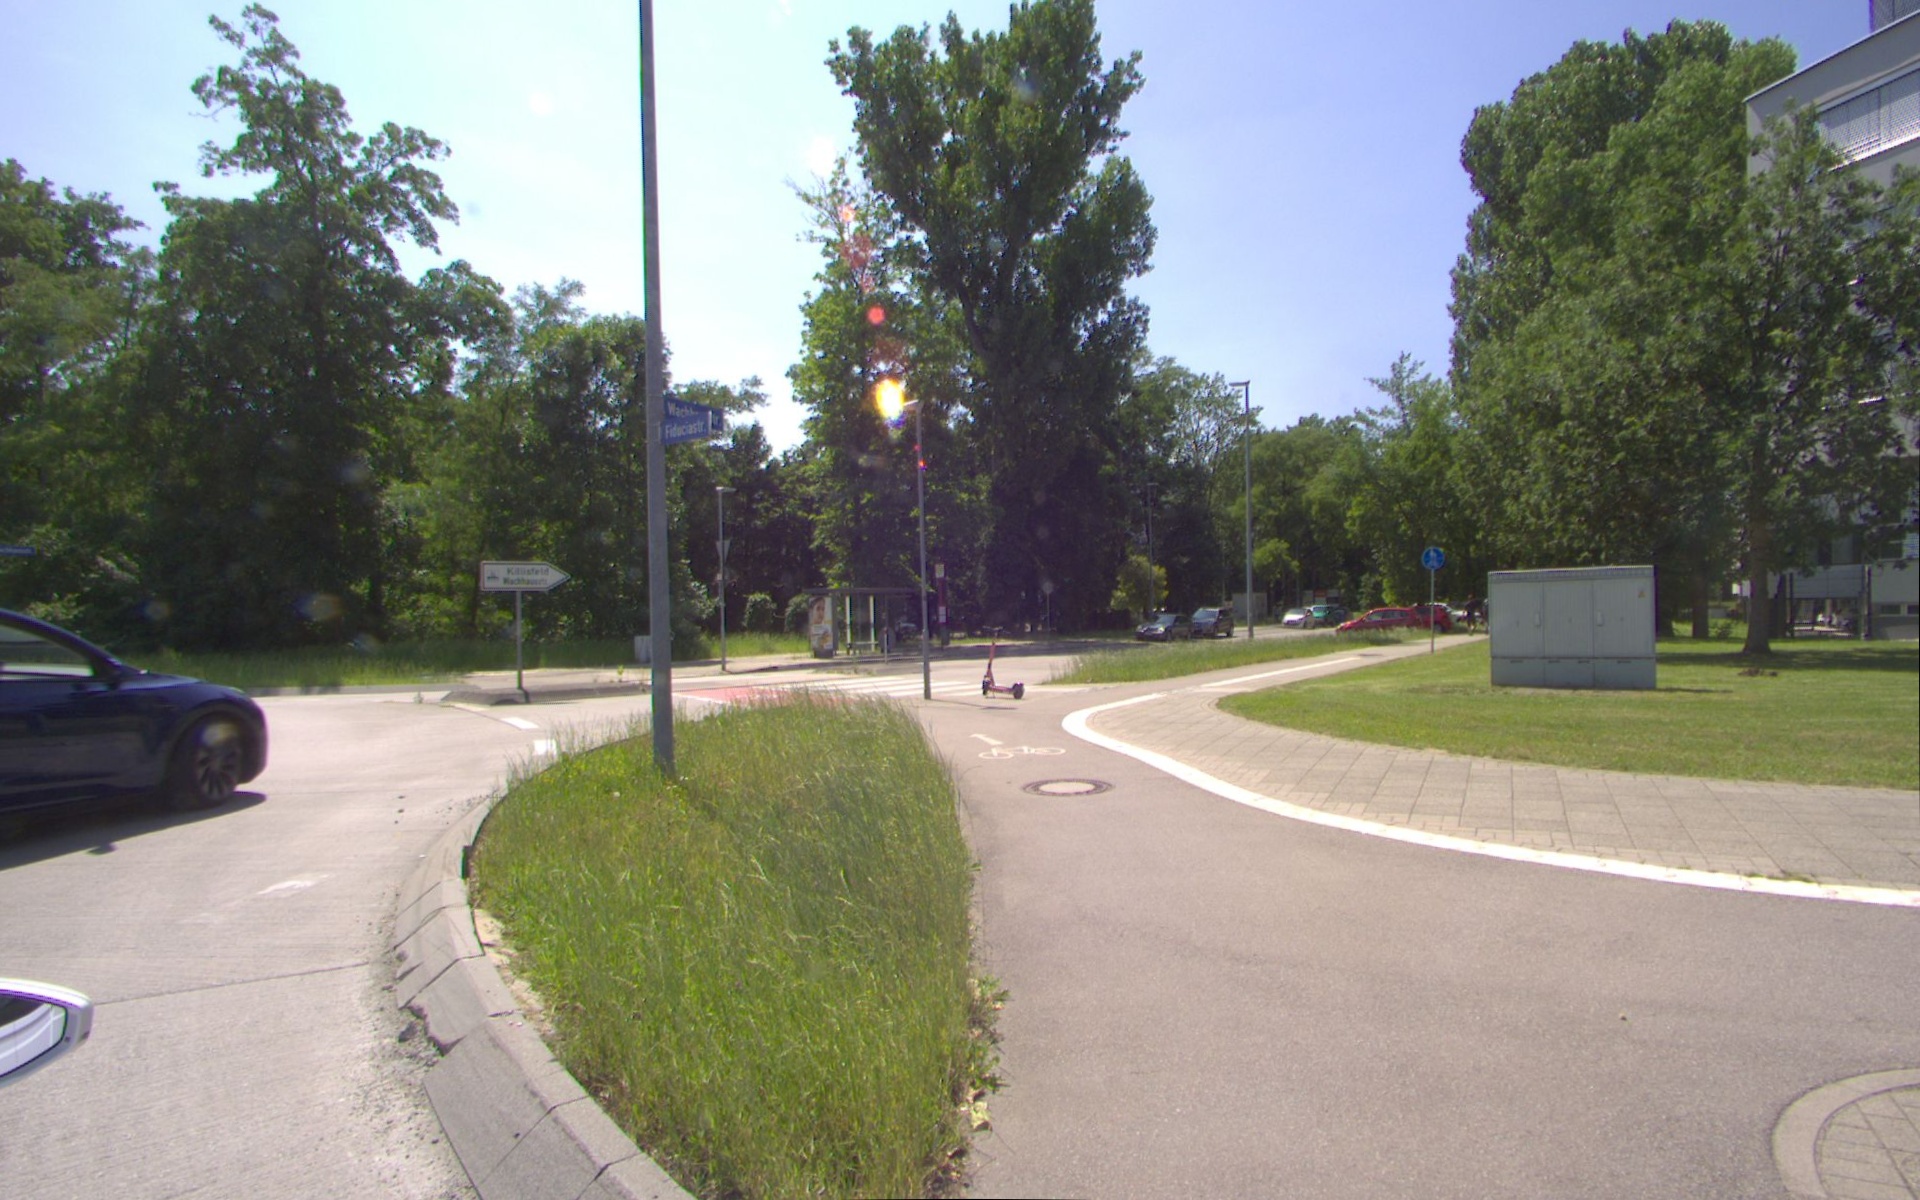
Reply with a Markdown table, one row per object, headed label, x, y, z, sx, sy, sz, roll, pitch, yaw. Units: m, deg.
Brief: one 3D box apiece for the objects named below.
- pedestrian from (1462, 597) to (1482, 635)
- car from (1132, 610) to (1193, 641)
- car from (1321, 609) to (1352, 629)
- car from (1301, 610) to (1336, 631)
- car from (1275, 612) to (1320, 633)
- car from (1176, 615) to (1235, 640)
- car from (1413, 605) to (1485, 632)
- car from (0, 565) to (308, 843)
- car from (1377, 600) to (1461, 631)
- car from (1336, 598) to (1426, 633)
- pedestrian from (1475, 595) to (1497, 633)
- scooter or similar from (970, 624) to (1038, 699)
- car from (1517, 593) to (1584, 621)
| label | x | y | z | sx | sy | sz | roll | pitch | yaw |
| --- | --- | --- | --- | --- | --- | --- | --- | --- | --- |
| pedestrian | 22.307 | 0.708 | 43.647 | 0.577 | 1.637 | 0.486 | -1 | -1 | -10 |
| car | 10.530 | 1.297 | 51.899 | 1.680 | 1.506 | 3.976 | 2 | 0 | 35 |
| car | 30.487 | 1.538 | 80.995 | 1.711 | 1.513 | 3.427 | -1 | -1 | 32 |
| car | 27.241 | 1.566 | 76.043 | 1.712 | 1.563 | 3.426 | -2 | -2 | 34 |
| car | 24.508 | 1.635 | 72.643 | 1.975 | 1.488 | 3.974 | -2 | -2 | 37 |
| car | 13.972 | 1.543 | 56.772 | 1.973 | 1.327 | 3.977 | -2 | -2 | 34 |
| car | 28.484 | 1.086 | 58.313 | 3.632 | 1.502 | 1.860 | -2 | -2 | 31 |
| car | -6.714 | 0.634 | 6.106 | 1.961 | 1.661 | 4.756 | -1 | -1 | 7 |
| car | 23.086 | 0.803 | 50.355 | 3.632 | 1.502 | 1.860 | -2 | -2 | 31 |
| car | 19.624 | 0.746 | 46.727 | 3.632 | 1.502 | 1.860 | -2 | -2 | 31 |
| pedestrian | 22.950 | 0.628 | 43.711 | 0.561 | 1.629 | 0.644 | -1 | -1 | -2 |
| scooter or similar | 0.734 | 1.037 | 17.119 | 0.442 | 1.217 | 1.391 | 0 | -1 | -32 |
| car | 44.668 | 0.552 | 75.823 | 1.968 | 2.039 | 3.987 | 0 | -2 | -24 |
